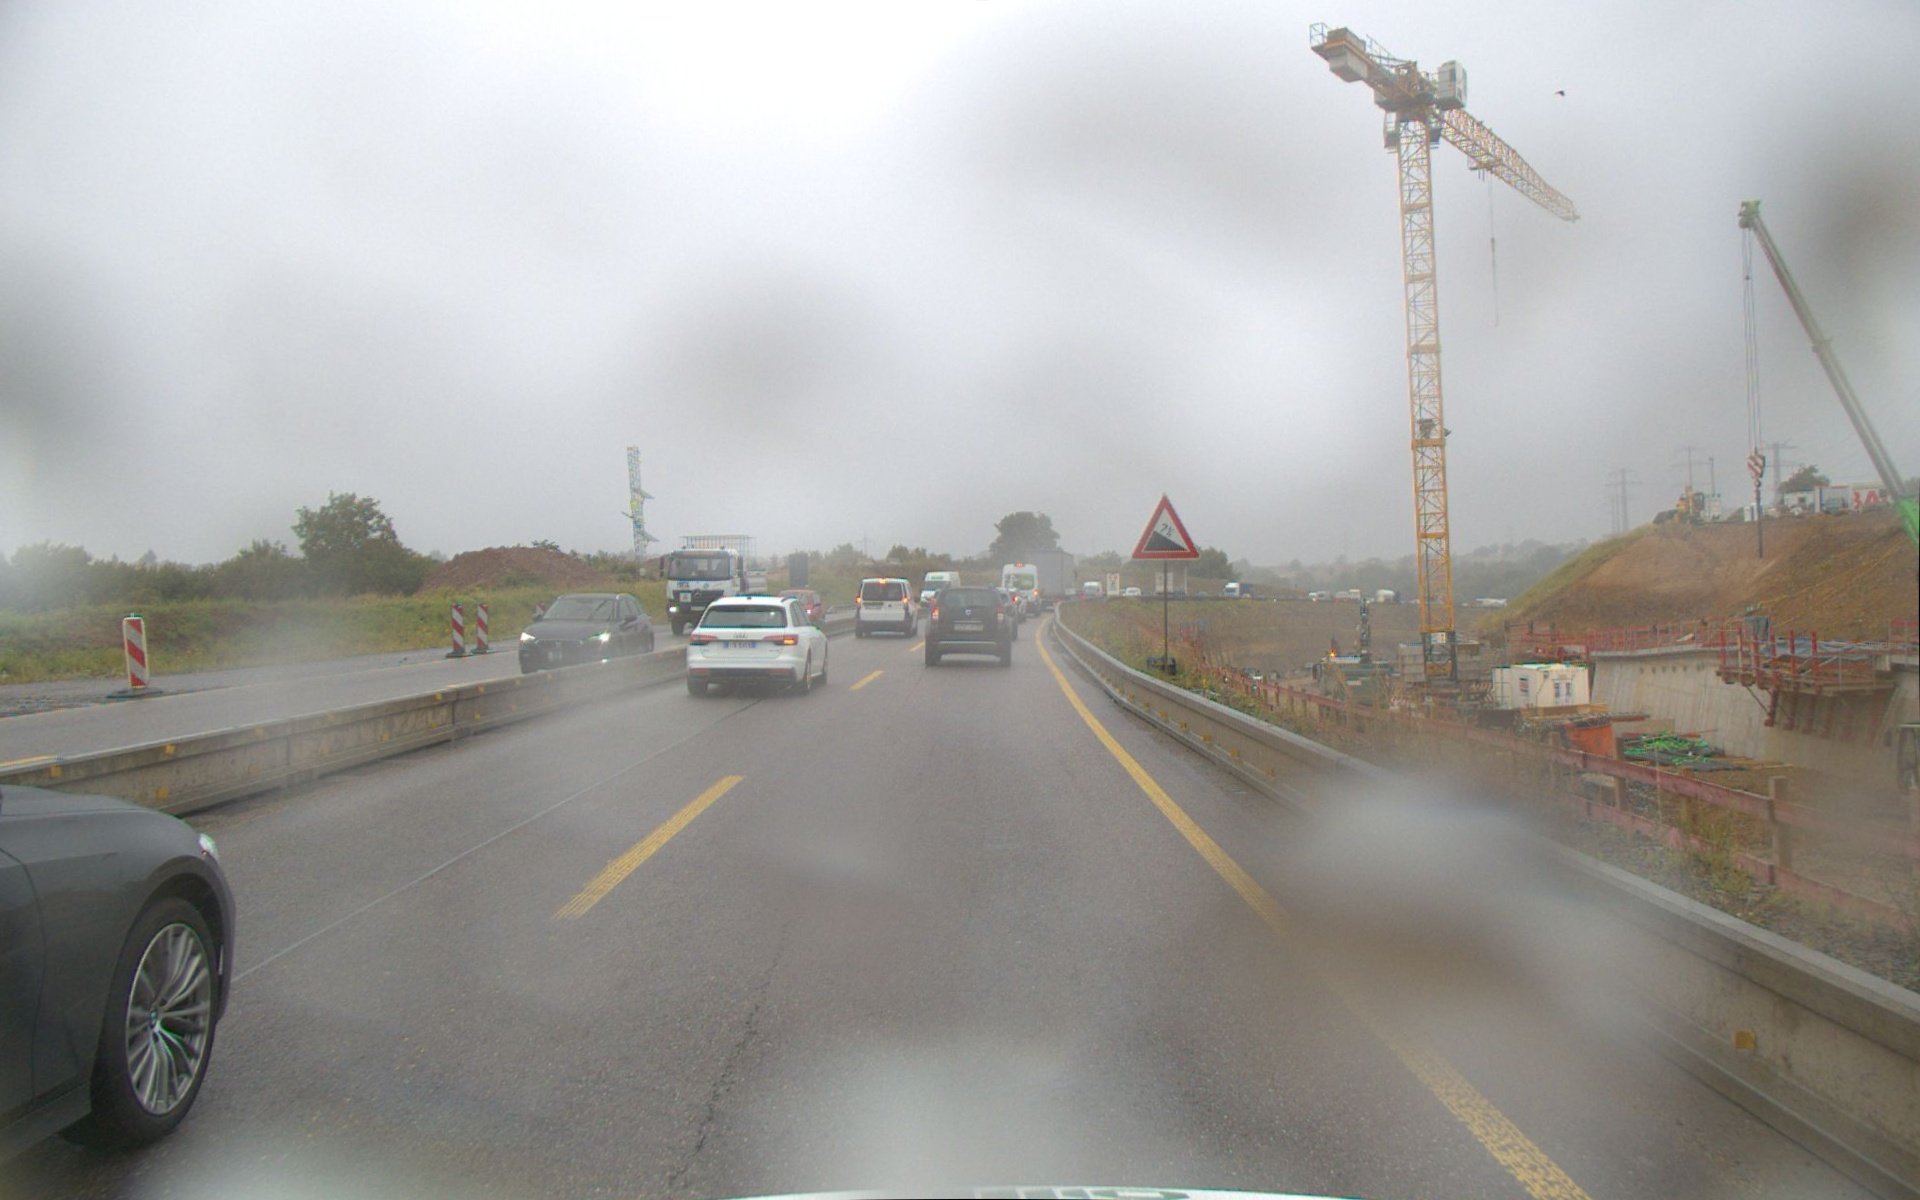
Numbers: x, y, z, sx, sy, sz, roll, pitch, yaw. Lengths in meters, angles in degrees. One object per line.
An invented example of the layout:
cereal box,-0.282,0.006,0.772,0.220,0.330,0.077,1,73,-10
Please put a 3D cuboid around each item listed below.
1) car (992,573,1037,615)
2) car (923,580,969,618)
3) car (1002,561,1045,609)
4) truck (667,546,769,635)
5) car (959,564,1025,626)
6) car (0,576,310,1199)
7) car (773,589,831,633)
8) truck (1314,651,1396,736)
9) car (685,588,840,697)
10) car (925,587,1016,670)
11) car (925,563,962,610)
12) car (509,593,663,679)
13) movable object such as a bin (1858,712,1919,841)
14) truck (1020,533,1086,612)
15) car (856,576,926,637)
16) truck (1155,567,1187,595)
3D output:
car,2.529,-0.250,75.950,1.788,1.846,4.002,1,0,5
car,-0.664,-0.040,82.444,1.787,1.846,4.003,1,0,6
car,3.484,-0.779,89.694,1.787,2.480,4.161,1,0,9
truck,-8.458,-0.337,58.534,2.309,2.945,6.551,-1,0,3
car,1.045,-0.142,52.302,1.788,1.846,4.002,1,0,5
car,-2.857,0.764,2.368,1.699,1.488,5.629,0,2,-1
car,-5.469,0.369,57.442,1.604,1.421,3.592,1,0,1
truck,18.847,4.378,79.322,2.642,3.565,8.954,1,0,6
car,-2.958,0.613,25.518,1.788,1.525,4.001,1,0,1
car,0.276,0.574,34.966,1.788,1.619,4.001,1,0,2
car,-1.096,-0.894,113.547,1.951,3.098,7.175,1,0,4
car,-6.894,0.628,30.943,1.788,1.468,4.697,0,0,0
movable object such as a bin,23.115,3.915,36.715,3.714,2.854,4.854,0,-5,1
truck,6.511,-1.781,113.669,3.468,5.166,10.450,1,0,9
car,-2.173,0.206,53.256,1.788,1.846,4.002,1,0,4
truck,29.920,-2.687,234.251,3.398,3.780,8.423,0,1,16
